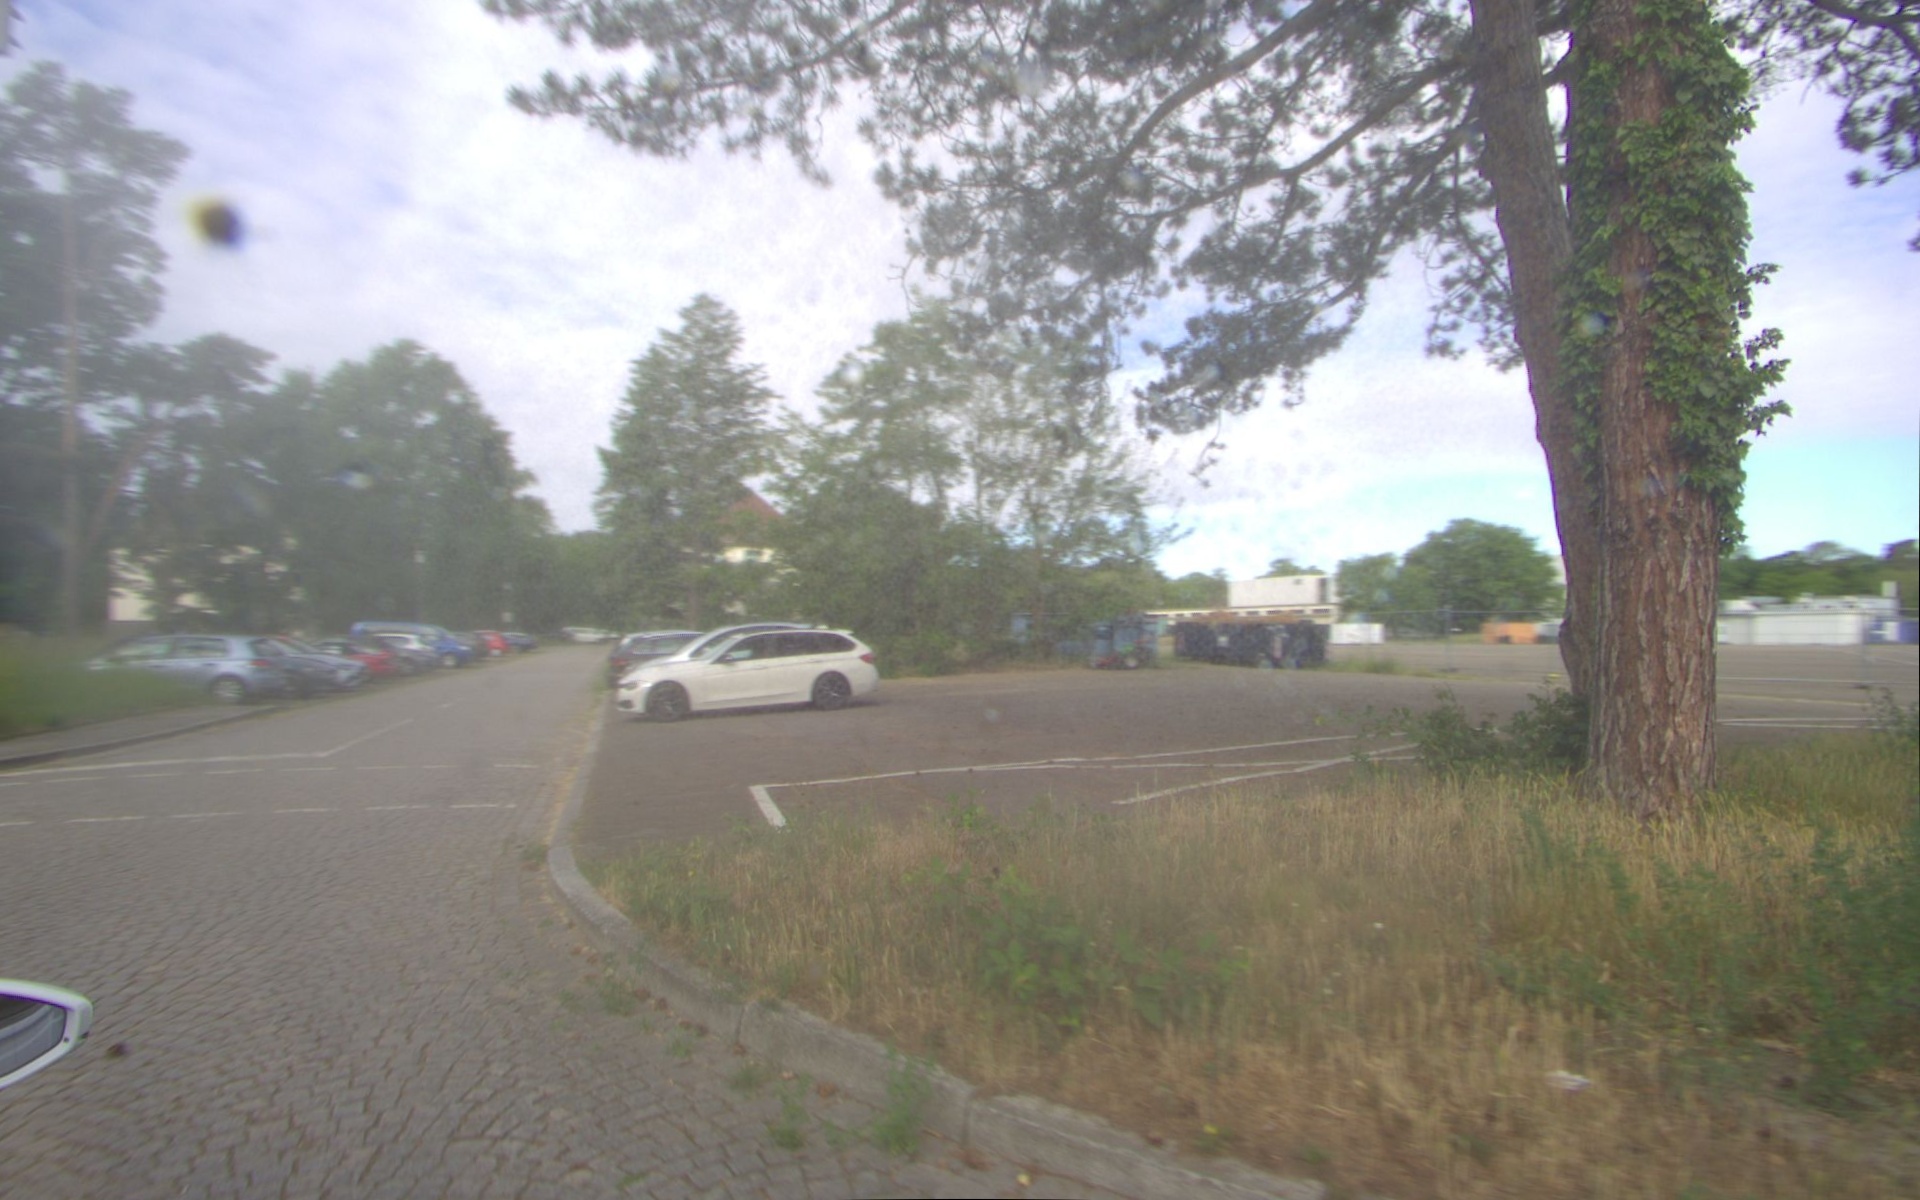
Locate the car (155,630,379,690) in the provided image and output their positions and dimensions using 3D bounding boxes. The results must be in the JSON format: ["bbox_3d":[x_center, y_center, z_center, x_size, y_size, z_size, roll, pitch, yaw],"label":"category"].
[{"bbox_3d":[-17.893,1.545,26.106,4.374,1.473,1.946,1,-2,-18],"label":"car"}]

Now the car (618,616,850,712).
[{"bbox_3d":[-4.579,1.235,20.277,4.272,1.595,1.821,-2,-1,-24],"label":"car"}]

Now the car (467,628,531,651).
[{"bbox_3d":[-32.839,2.828,71.459,4.016,1.624,1.783,1,-1,-20],"label":"car"}]

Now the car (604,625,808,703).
[{"bbox_3d":[-5.768,1.388,22.704,4.305,1.425,1.792,-2,1,-20],"label":"car"}]

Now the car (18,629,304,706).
[{"bbox_3d":[-16.511,1.379,20.977,4.267,1.489,1.824,1,-2,-17],"label":"car"}]

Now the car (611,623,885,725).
[{"bbox_3d":[-3.777,1.241,17.833,4.488,1.444,1.822,-2,-1,-22],"label":"car"}]

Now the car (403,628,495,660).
[{"bbox_3d":[-26.445,2.284,51.960,4.012,1.595,1.950,1,-1,-20],"label":"car"}]

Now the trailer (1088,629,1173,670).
[{"bbox_3d":[5.203,1.513,30.550,2.281,1.184,1.141,2,-2,-20],"label":"trailer"}]

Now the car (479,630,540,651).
[{"bbox_3d":[-34.130,3.074,75.968,4.011,1.486,1.623,1,-1,-15],"label":"car"}]

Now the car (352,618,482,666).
[{"bbox_3d":[-23.534,1.842,43.603,4.644,2.006,2.034,1,-1,-19],"label":"car"}]

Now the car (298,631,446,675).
[{"bbox_3d":[-20.954,1.870,35.873,4.243,1.499,1.728,1,-1,-17],"label":"car"}]

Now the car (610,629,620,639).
[{"bbox_3d":[-64.409,6.365,186.879,1.765,1.656,4.054,0,-3,-20],"label":"car"}]

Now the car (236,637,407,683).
[{"bbox_3d":[-19.354,1.818,30.553,4.073,1.300,1.760,1,-1,-19],"label":"car"}]

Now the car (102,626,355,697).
[{"bbox_3d":[-17.014,1.418,23.576,4.442,1.556,1.866,1,-2,-22],"label":"car"}]

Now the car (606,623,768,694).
[{"bbox_3d":[-6.871,1.427,25.176,3.720,1.499,1.738,-2,1,-22],"label":"car"}]

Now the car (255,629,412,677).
[{"bbox_3d":[-20.523,1.743,32.982,4.030,1.499,1.752,1,-1,-18],"label":"car"}]

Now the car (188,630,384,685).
[{"bbox_3d":[-18.841,1.596,28.217,4.194,1.474,1.851,1,-1,-19],"label":"car"}]

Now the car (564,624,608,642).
[{"bbox_3d":[-46.094,4.103,123.514,4.910,2.098,2.048,2,-3,-20],"label":"car"}]

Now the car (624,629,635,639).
[{"bbox_3d":[-62.060,6.357,188.017,1.765,1.741,4.054,0,-3,-20],"label":"car"}]

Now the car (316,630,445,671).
[{"bbox_3d":[-22.177,1.931,38.478,3.948,1.521,1.839,1,-1,-17],"label":"car"}]

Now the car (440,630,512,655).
[{"bbox_3d":[-29.767,2.604,61.701,3.763,1.509,1.783,1,-1,-20],"label":"car"}]
